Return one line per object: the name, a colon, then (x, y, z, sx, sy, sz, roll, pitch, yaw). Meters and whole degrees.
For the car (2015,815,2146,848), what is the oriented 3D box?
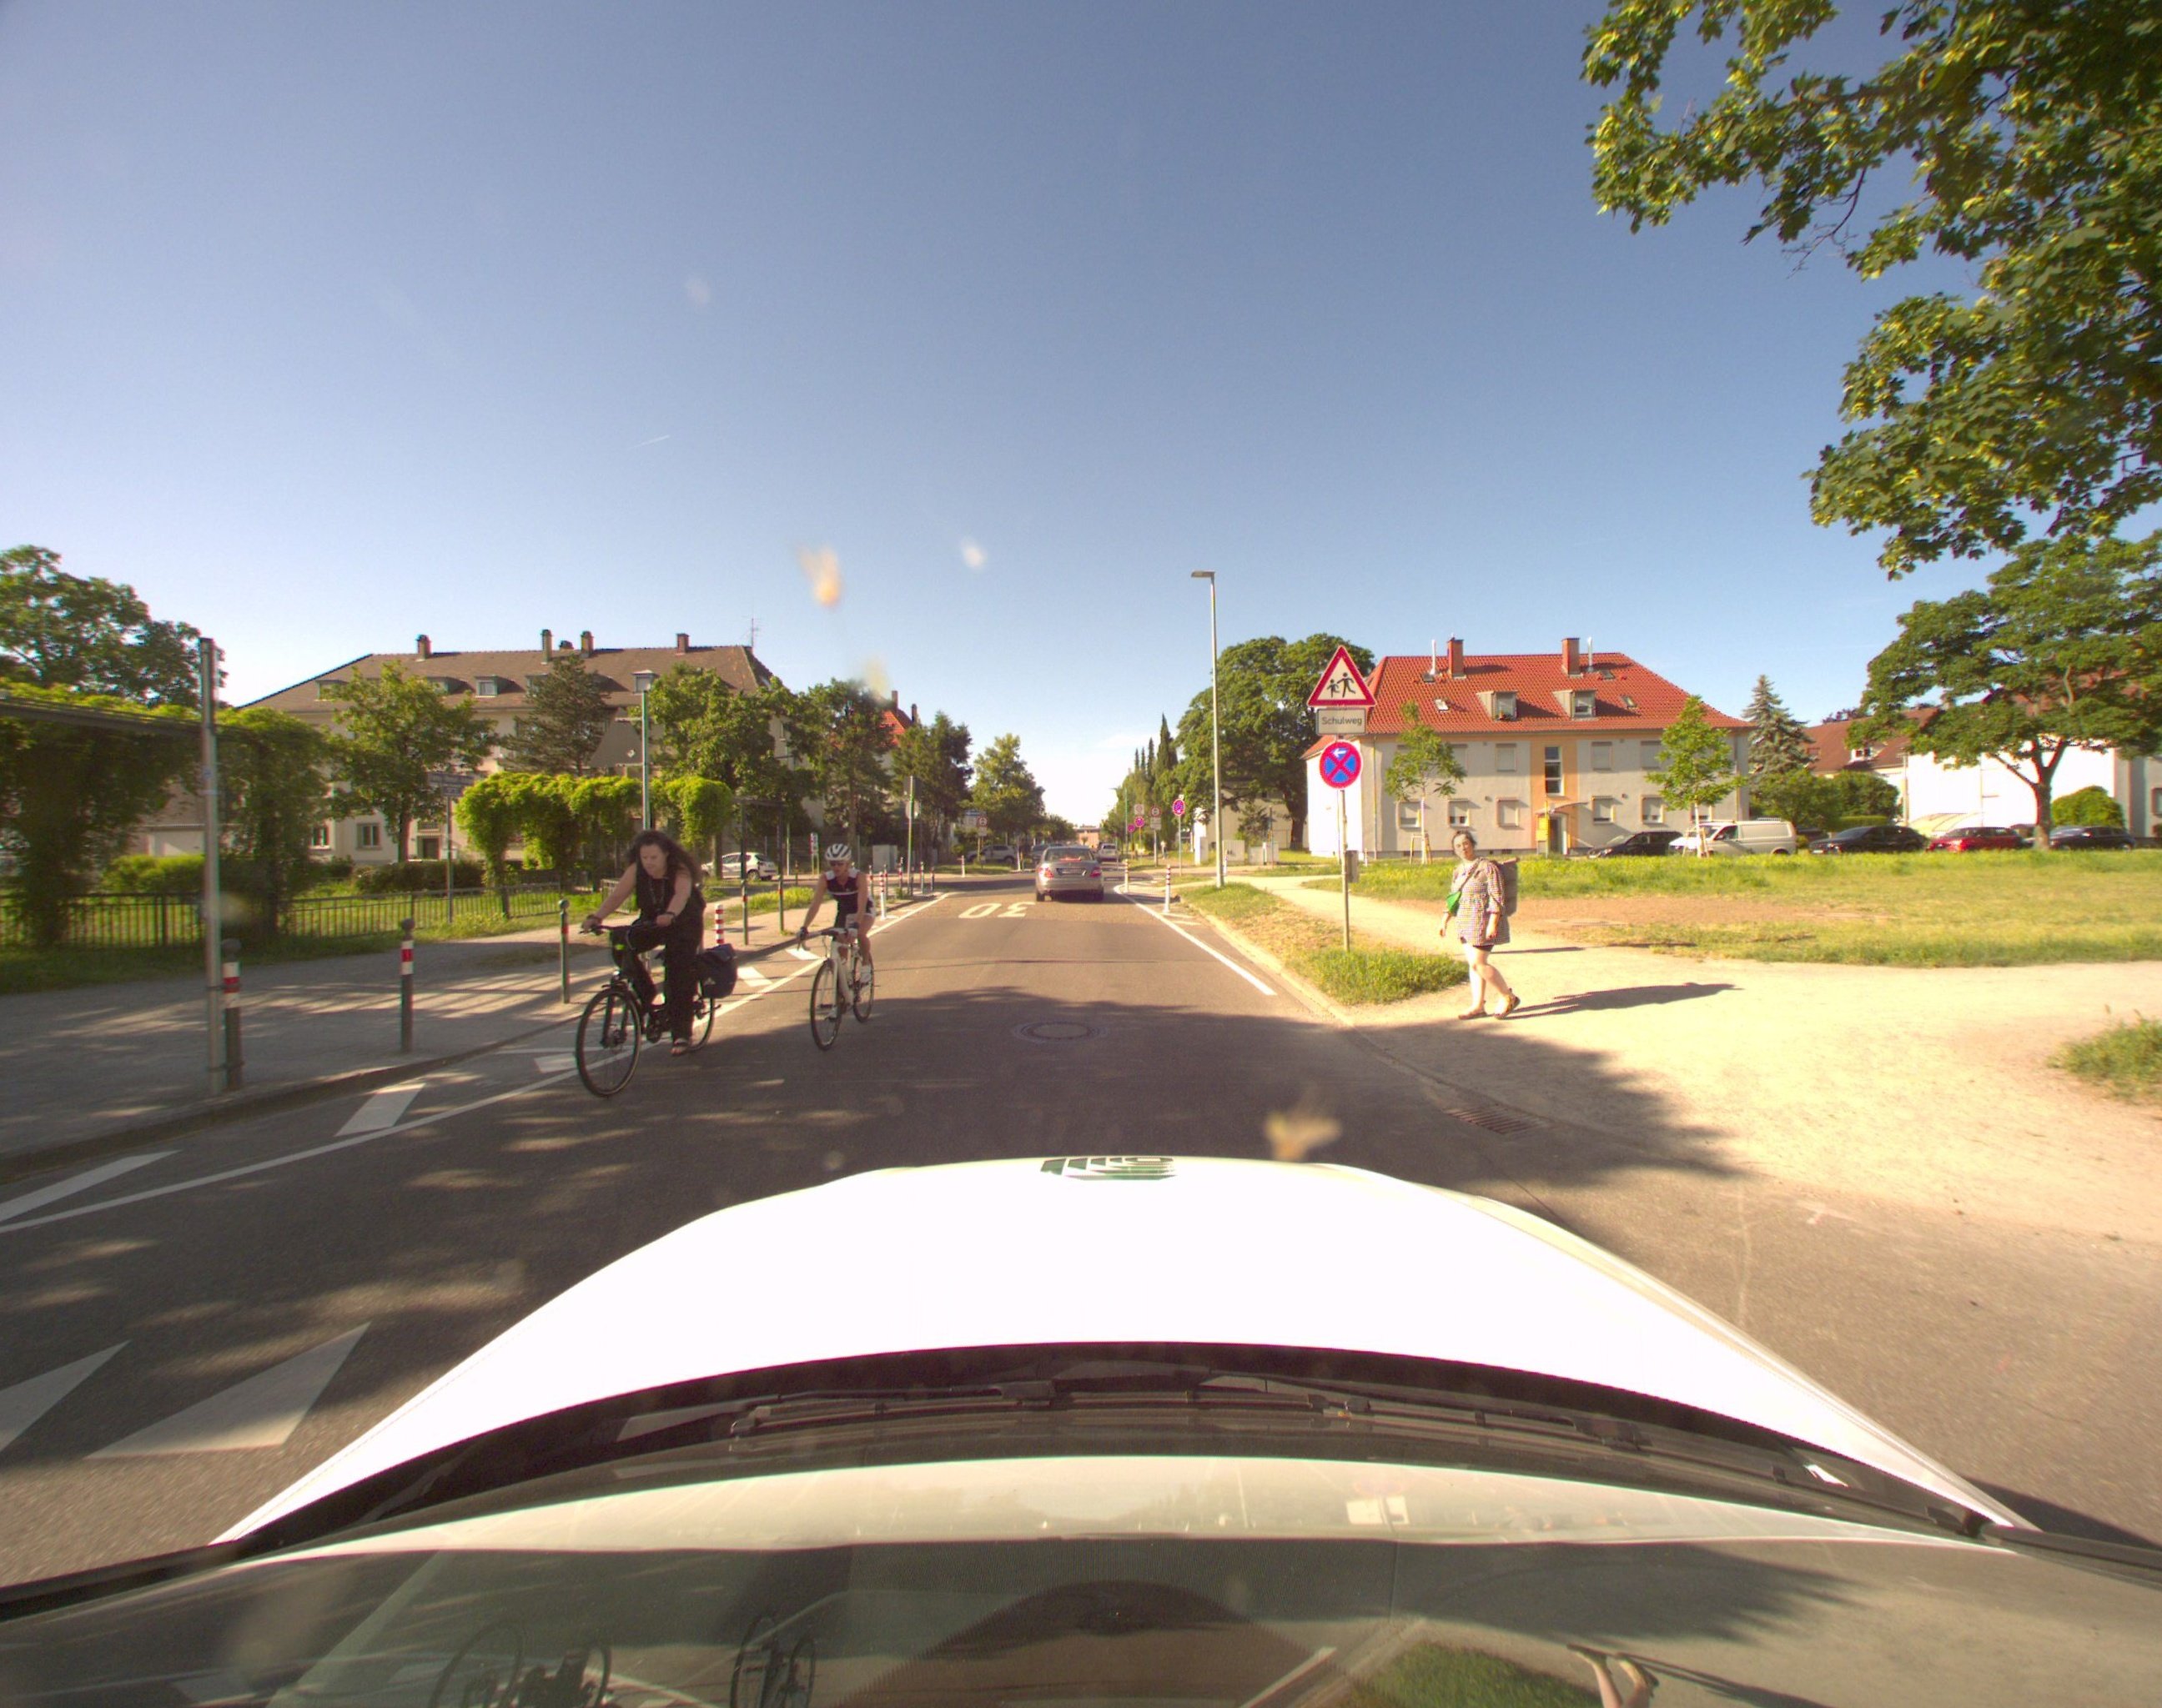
car: (47.592, -1.081, 38.842, 4.112, 1.441, 1.722, -1, 1, 1)

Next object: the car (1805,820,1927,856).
car: (37.214, -0.773, 38.654, 4.112, 1.583, 1.722, -1, 1, 1)

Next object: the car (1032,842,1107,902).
car: (-0.225, 0.416, 22.082, 1.829, 1.441, 4.002, -1, 1, 2)

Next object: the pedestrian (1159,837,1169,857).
pedestrian: (6.803, -0.599, 66.463, 0.762, 1.611, 0.835, -1, 1, 5)

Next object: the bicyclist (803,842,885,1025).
bicyclist: (-1.990, 0.635, 6.907, 0.495, 1.464, 0.686, -1, 0, -4)

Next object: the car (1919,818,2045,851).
car: (42.899, -0.924, 38.824, 4.112, 1.441, 1.722, -1, 1, 1)

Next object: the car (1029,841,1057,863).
car: (-3.081, -0.214, 66.774, 1.988, 1.609, 3.998, -5, 1, -1)

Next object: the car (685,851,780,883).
car: (-16.759, 0.615, 39.278, 3.751, 1.398, 1.707, -2, 0, 0)

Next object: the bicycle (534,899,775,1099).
bicycle: (-3.082, 0.974, 6.176, 0.640, 1.108, 2.066, -1, 1, 2)

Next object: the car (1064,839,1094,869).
car: (-0.144, -0.032, 47.149, 1.592, 1.609, 3.642, -2, 1, -1)

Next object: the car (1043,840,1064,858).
car: (-2.862, -0.536, 84.584, 1.988, 1.609, 3.998, -5, 1, -1)

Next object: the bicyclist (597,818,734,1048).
bicyclist: (-3.094, 0.560, 6.110, 0.640, 1.619, 0.637, -1, 0, 2)

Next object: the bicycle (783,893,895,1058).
bicycle: (-1.987, 0.940, 6.884, 0.504, 1.089, 1.707, -1, 1, -4)

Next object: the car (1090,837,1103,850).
car: (2.341, -1.595, 124.966, 1.849, 1.841, 4.000, -2, 1, 0)

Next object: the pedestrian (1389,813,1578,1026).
pedestrian: (3.598, 0.537, 7.340, 1.089, 1.673, 0.909, -7, 2, -16)

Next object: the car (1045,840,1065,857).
car: (-2.861, -0.634, 90.224, 1.988, 1.609, 3.998, -5, 1, -1)

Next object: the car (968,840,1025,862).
car: (-6.350, -0.220, 61.639, 4.182, 1.564, 1.840, -1, 1, -3)

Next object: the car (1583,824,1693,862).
car: (26.447, -0.533, 38.751, 4.036, 1.664, 1.722, -1, 1, 1)

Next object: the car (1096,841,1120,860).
car: (2.267, -0.301, 69.067, 1.728, 1.479, 3.723, -2, 1, -1)

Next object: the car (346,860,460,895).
car: (-32.646, 1.112, 39.300, 3.973, 1.494, 1.801, -2, 0, 0)

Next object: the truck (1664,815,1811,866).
truck: (28.754, -0.585, 35.771, 4.842, 2.036, 2.000, -2, 1, 0)
